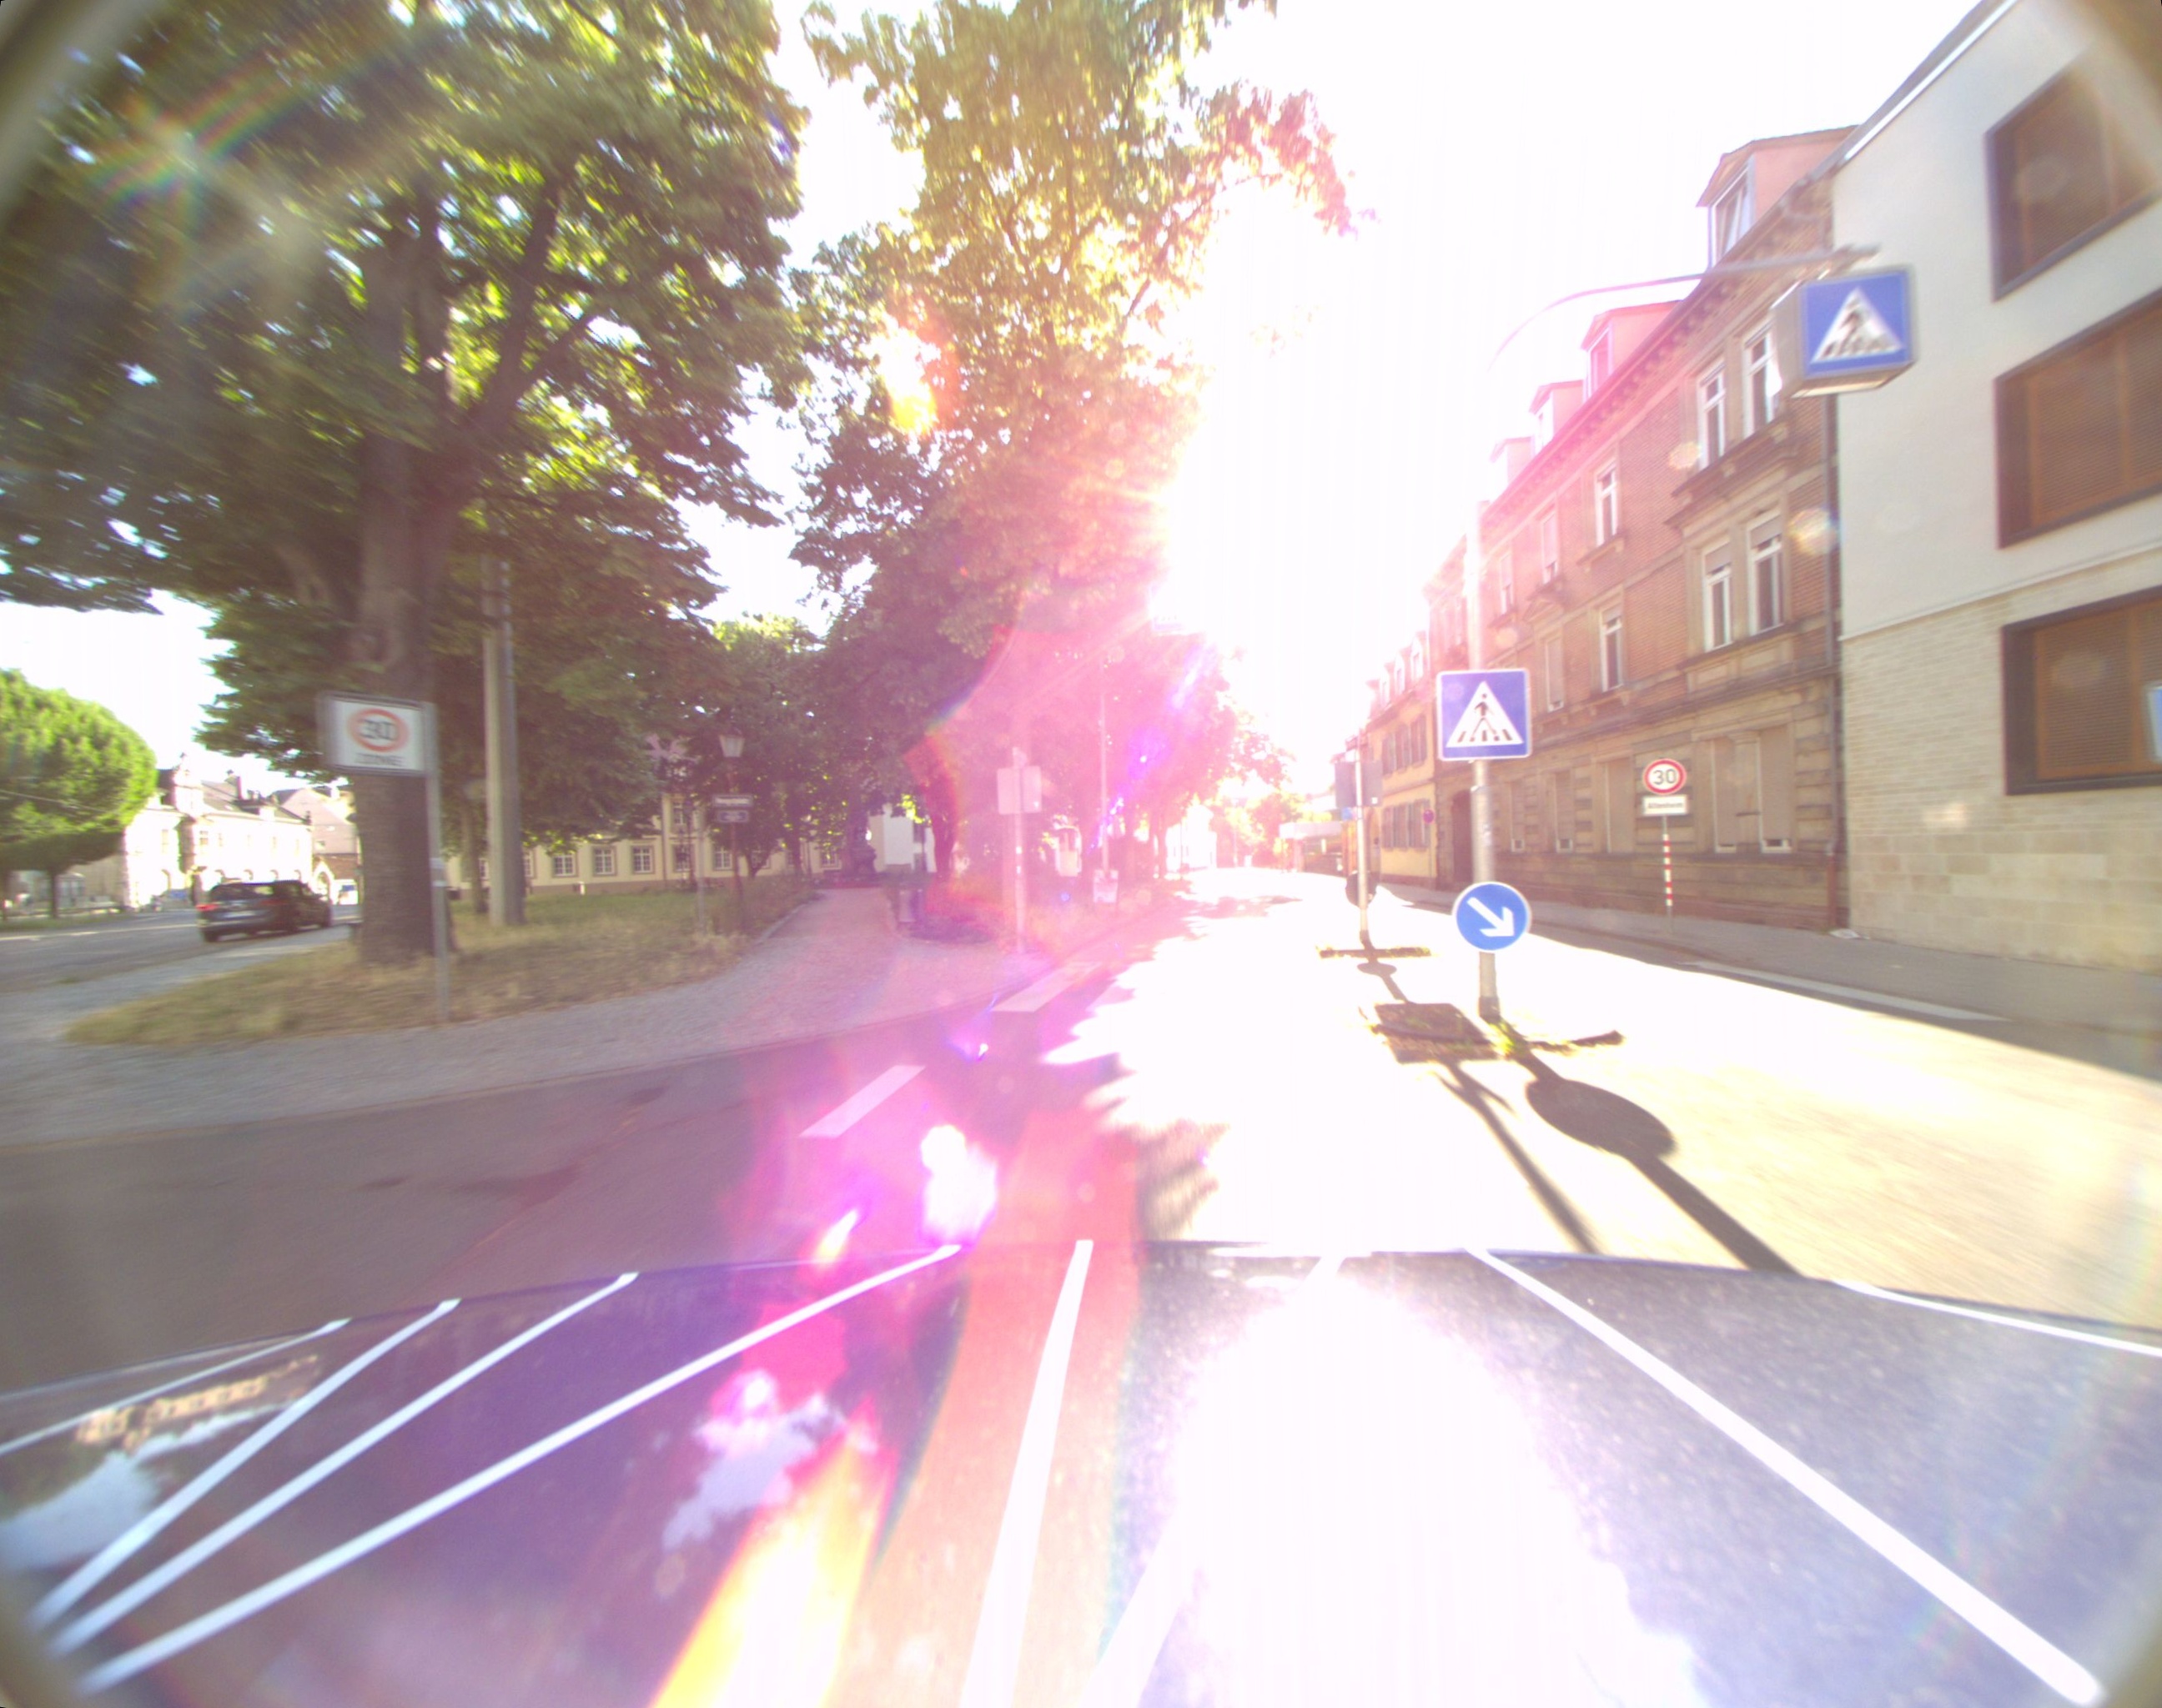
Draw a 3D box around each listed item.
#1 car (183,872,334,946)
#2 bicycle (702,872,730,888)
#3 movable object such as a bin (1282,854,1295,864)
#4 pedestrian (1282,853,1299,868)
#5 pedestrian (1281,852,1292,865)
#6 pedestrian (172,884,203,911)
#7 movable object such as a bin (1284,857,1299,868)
[{"bbox_3d":[-23.527,1.482,21.941,2.003,1.784,3.990,-4,2,-34],"label":"car"},{"bbox_3d":[-26.258,1.859,54.705,1.766,1.026,0.721,-2,1,-30],"label":"bicycle"},{"bbox_3d":[20.776,0.477,76.171,1.037,0.923,0.841,-5,0,1],"label":"movable object such as a bin"},{"bbox_3d":[19.233,0.585,69.722,1.155,1.222,0.842,-4,0,43],"label":"pedestrian"},{"bbox_3d":[20.604,0.453,76.185,0.742,1.179,0.841,-5,0,2],"label":"pedestrian"},{"bbox_3d":[-70.731,3.445,60.158,1.358,2.002,1.155,-3,1,-43],"label":"pedestrian"},{"bbox_3d":[19.304,0.747,69.662,1.035,0.923,0.842,-4,0,43],"label":"movable object such as a bin"}]
